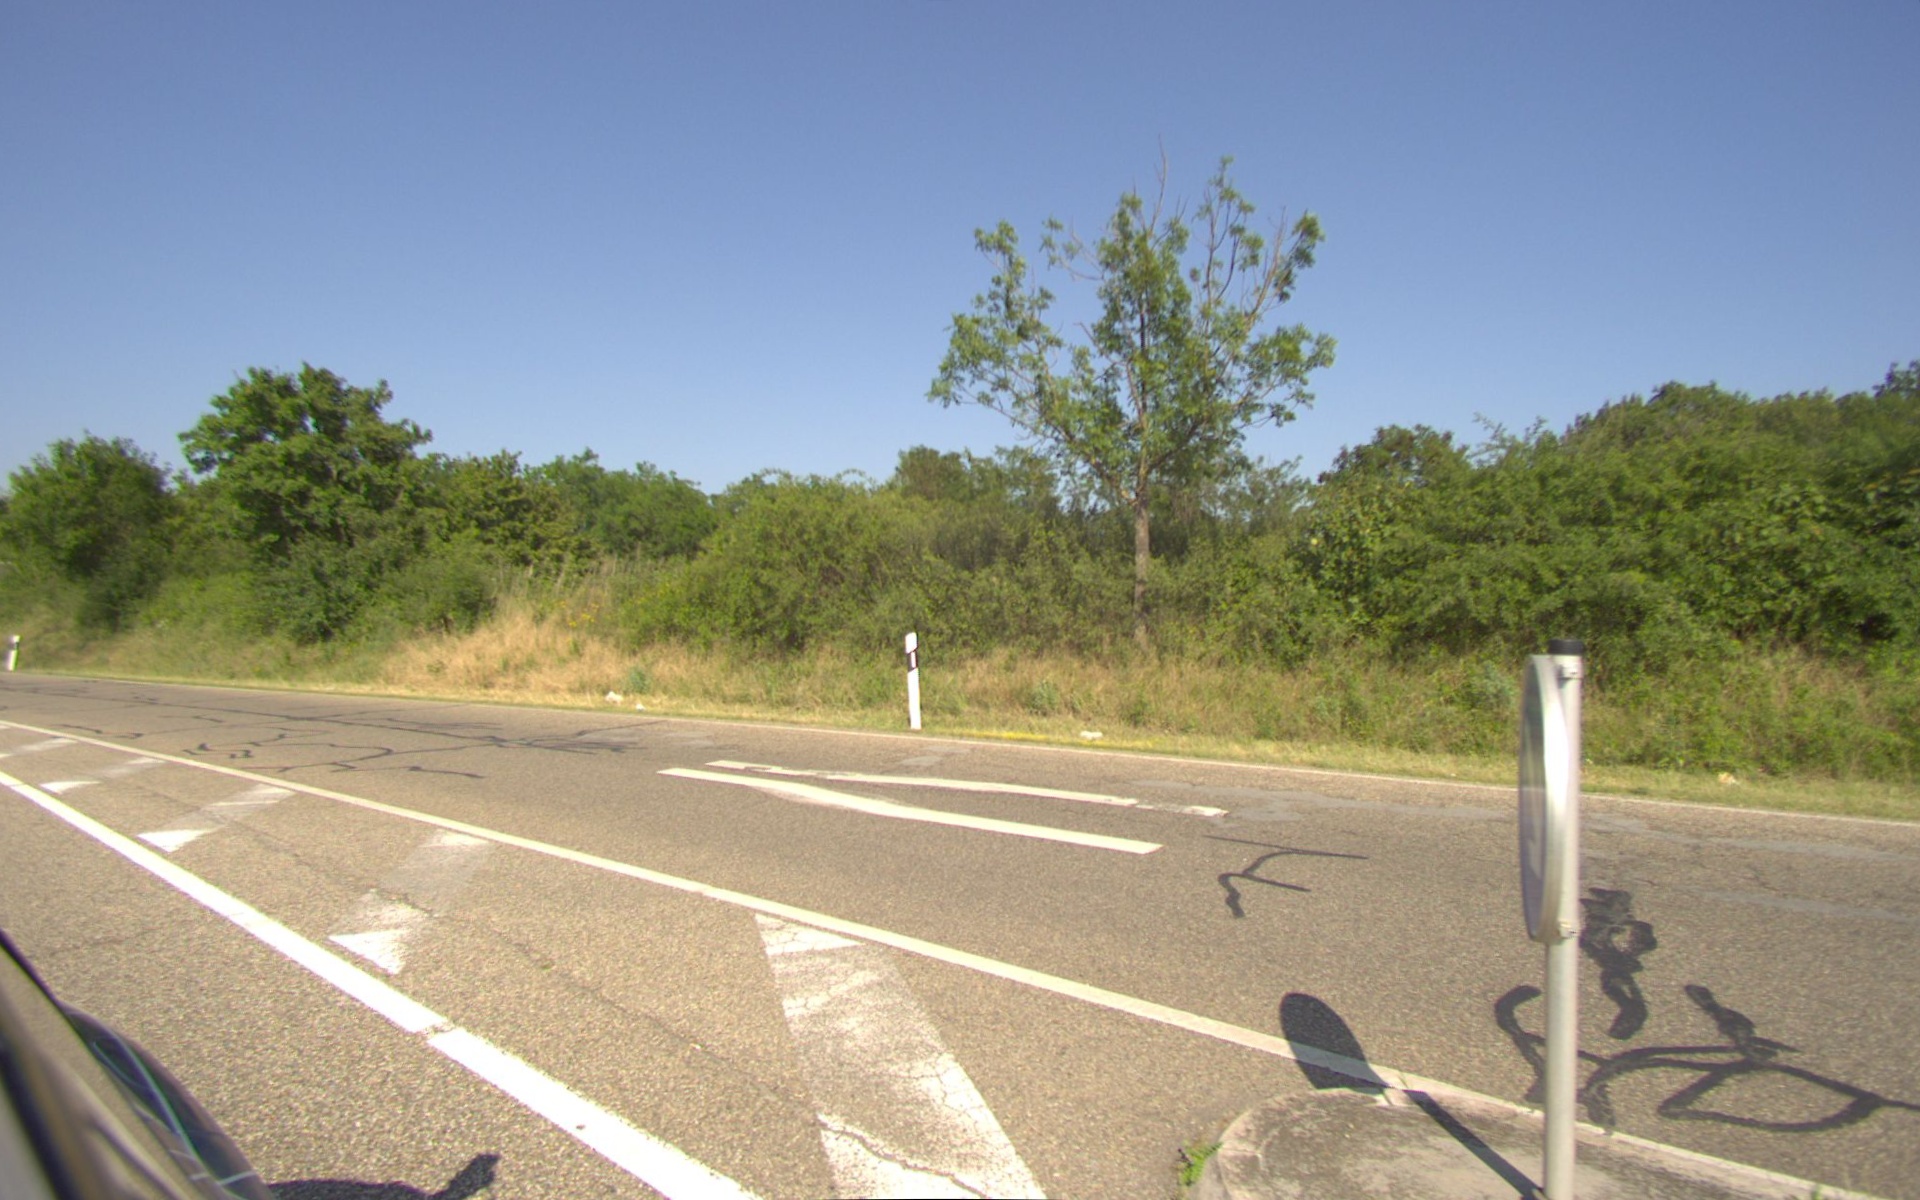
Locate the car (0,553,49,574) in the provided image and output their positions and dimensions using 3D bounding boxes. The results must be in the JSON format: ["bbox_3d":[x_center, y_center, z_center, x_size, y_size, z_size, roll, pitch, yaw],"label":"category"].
[{"bbox_3d":[-90.206,-3.447,96.705,4.263,1.915,1.751,-1,0,-22],"label":"car"}]
